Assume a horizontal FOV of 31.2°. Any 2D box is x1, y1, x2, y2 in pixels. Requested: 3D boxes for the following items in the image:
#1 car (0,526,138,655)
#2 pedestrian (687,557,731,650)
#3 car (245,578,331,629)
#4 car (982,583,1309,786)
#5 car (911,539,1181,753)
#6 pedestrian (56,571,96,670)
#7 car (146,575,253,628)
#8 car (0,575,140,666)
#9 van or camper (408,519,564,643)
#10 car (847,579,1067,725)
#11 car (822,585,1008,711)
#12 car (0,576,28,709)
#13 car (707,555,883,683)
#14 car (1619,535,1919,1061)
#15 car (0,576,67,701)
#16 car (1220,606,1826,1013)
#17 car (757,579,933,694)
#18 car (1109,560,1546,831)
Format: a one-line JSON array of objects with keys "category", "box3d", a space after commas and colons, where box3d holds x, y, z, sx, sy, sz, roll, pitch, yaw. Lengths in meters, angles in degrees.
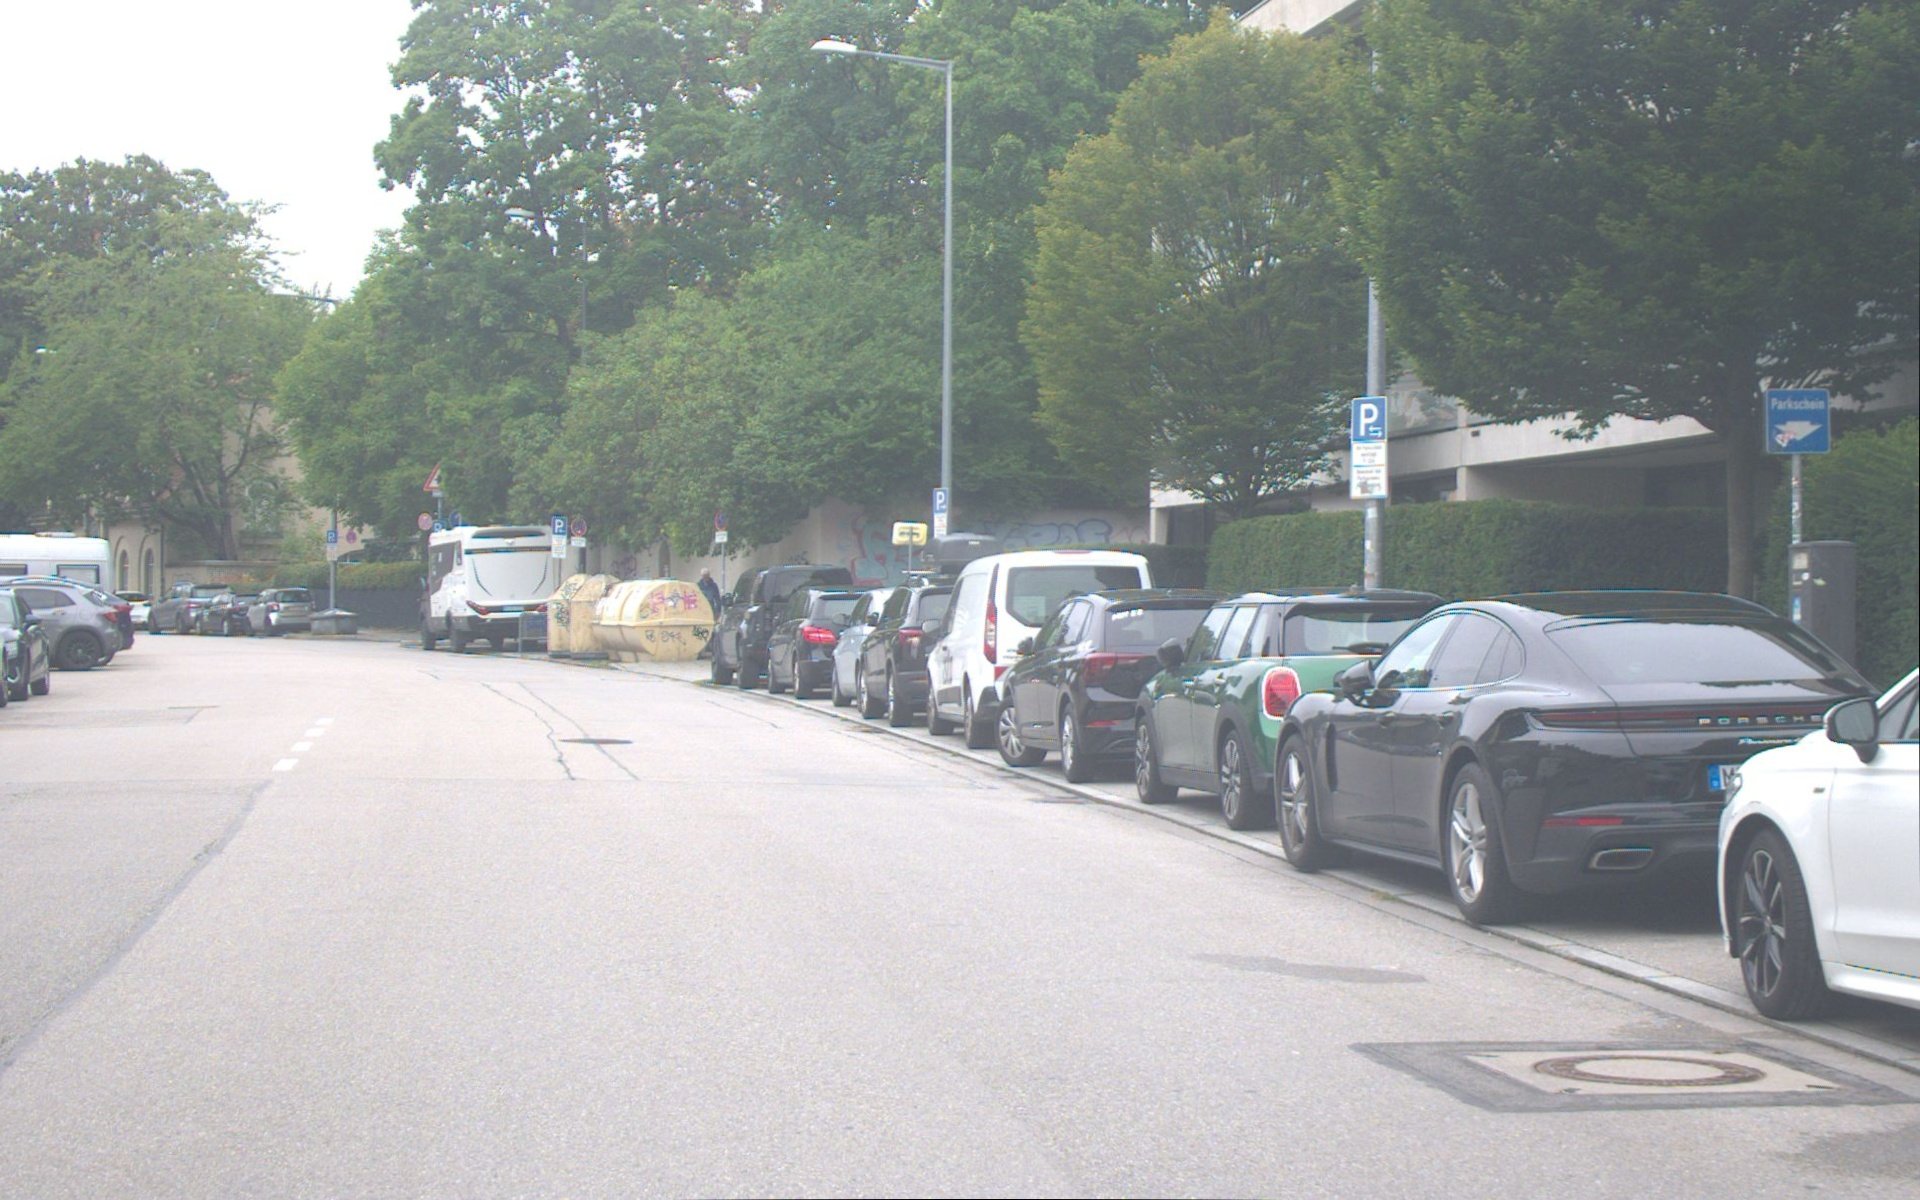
[{"category": "car", "box3d": [-19.221, -0.202, 69.340, 4.624, 2.554, 2.233, -1, 1, -42]}, {"category": "pedestrian", "box3d": [-5.409, 0.078, 74.121, 0.795, 1.978, 0.631, 1, 0, -20]}, {"category": "car", "box3d": [-21.217, 0.117, 108.494, 1.739, 1.531, 2.946, -1, 0, -31]}, {"category": "car", "box3d": [1.379, 0.601, 27.237, 1.747, 1.459, 4.243, 0, 0, -9]}, {"category": "car", "box3d": [0.737, 0.390, 33.083, 1.822, 1.854, 4.899, 2, 0, -7]}, {"category": "pedestrian", "box3d": [-14.931, 0.336, 58.051, 0.589, 1.642, 0.714, -1, 1, -18]}, {"category": "car", "box3d": [-25.700, 0.045, 116.054, 1.993, 1.705, 4.884, -1, 1, -31]}, {"category": "car", "box3d": [-16.377, 0.361, 58.782, 4.330, 1.525, 1.934, 0, -1, -22]}, {"category": "van or camper", "box3d": [-11.639, -0.460, 83.930, 2.272, 2.896, 7.278, 0, 0, -20]}, {"category": "car", "box3d": [-0.104, 0.533, 38.170, 1.747, 1.475, 4.599, 1, 1, -9]}, {"category": "car", "box3d": [-0.606, 0.567, 42.762, 1.747, 1.475, 3.889, 0, 0, -9]}, {"category": "car", "box3d": [-12.046, 0.526, 39.798, 1.845, 1.530, 4.522, -2, 1, -8]}, {"category": "car", "box3d": [-2.637, 0.304, 53.676, 1.987, 1.865, 5.079, 1, -1, -11]}, {"category": "car", "box3d": [3.871, 0.597, 10.419, 1.870, 1.564, 5.003, -2, 2, -12]}, {"category": "car", "box3d": [-12.773, 0.484, 44.663, 1.844, 1.530, 4.563, -2, 1, -10]}, {"category": "car", "box3d": [2.484, 0.850, 16.493, 1.281, 1.501, 5.209, -2, 1, -9]}, {"category": "car", "box3d": [-1.675, 0.481, 48.390, 1.747, 1.534, 4.571, 1, 0, -11]}, {"category": "car", "box3d": [2.225, 0.526, 21.961, 1.726, 1.524, 4.205, -1, 1, -9]}]
